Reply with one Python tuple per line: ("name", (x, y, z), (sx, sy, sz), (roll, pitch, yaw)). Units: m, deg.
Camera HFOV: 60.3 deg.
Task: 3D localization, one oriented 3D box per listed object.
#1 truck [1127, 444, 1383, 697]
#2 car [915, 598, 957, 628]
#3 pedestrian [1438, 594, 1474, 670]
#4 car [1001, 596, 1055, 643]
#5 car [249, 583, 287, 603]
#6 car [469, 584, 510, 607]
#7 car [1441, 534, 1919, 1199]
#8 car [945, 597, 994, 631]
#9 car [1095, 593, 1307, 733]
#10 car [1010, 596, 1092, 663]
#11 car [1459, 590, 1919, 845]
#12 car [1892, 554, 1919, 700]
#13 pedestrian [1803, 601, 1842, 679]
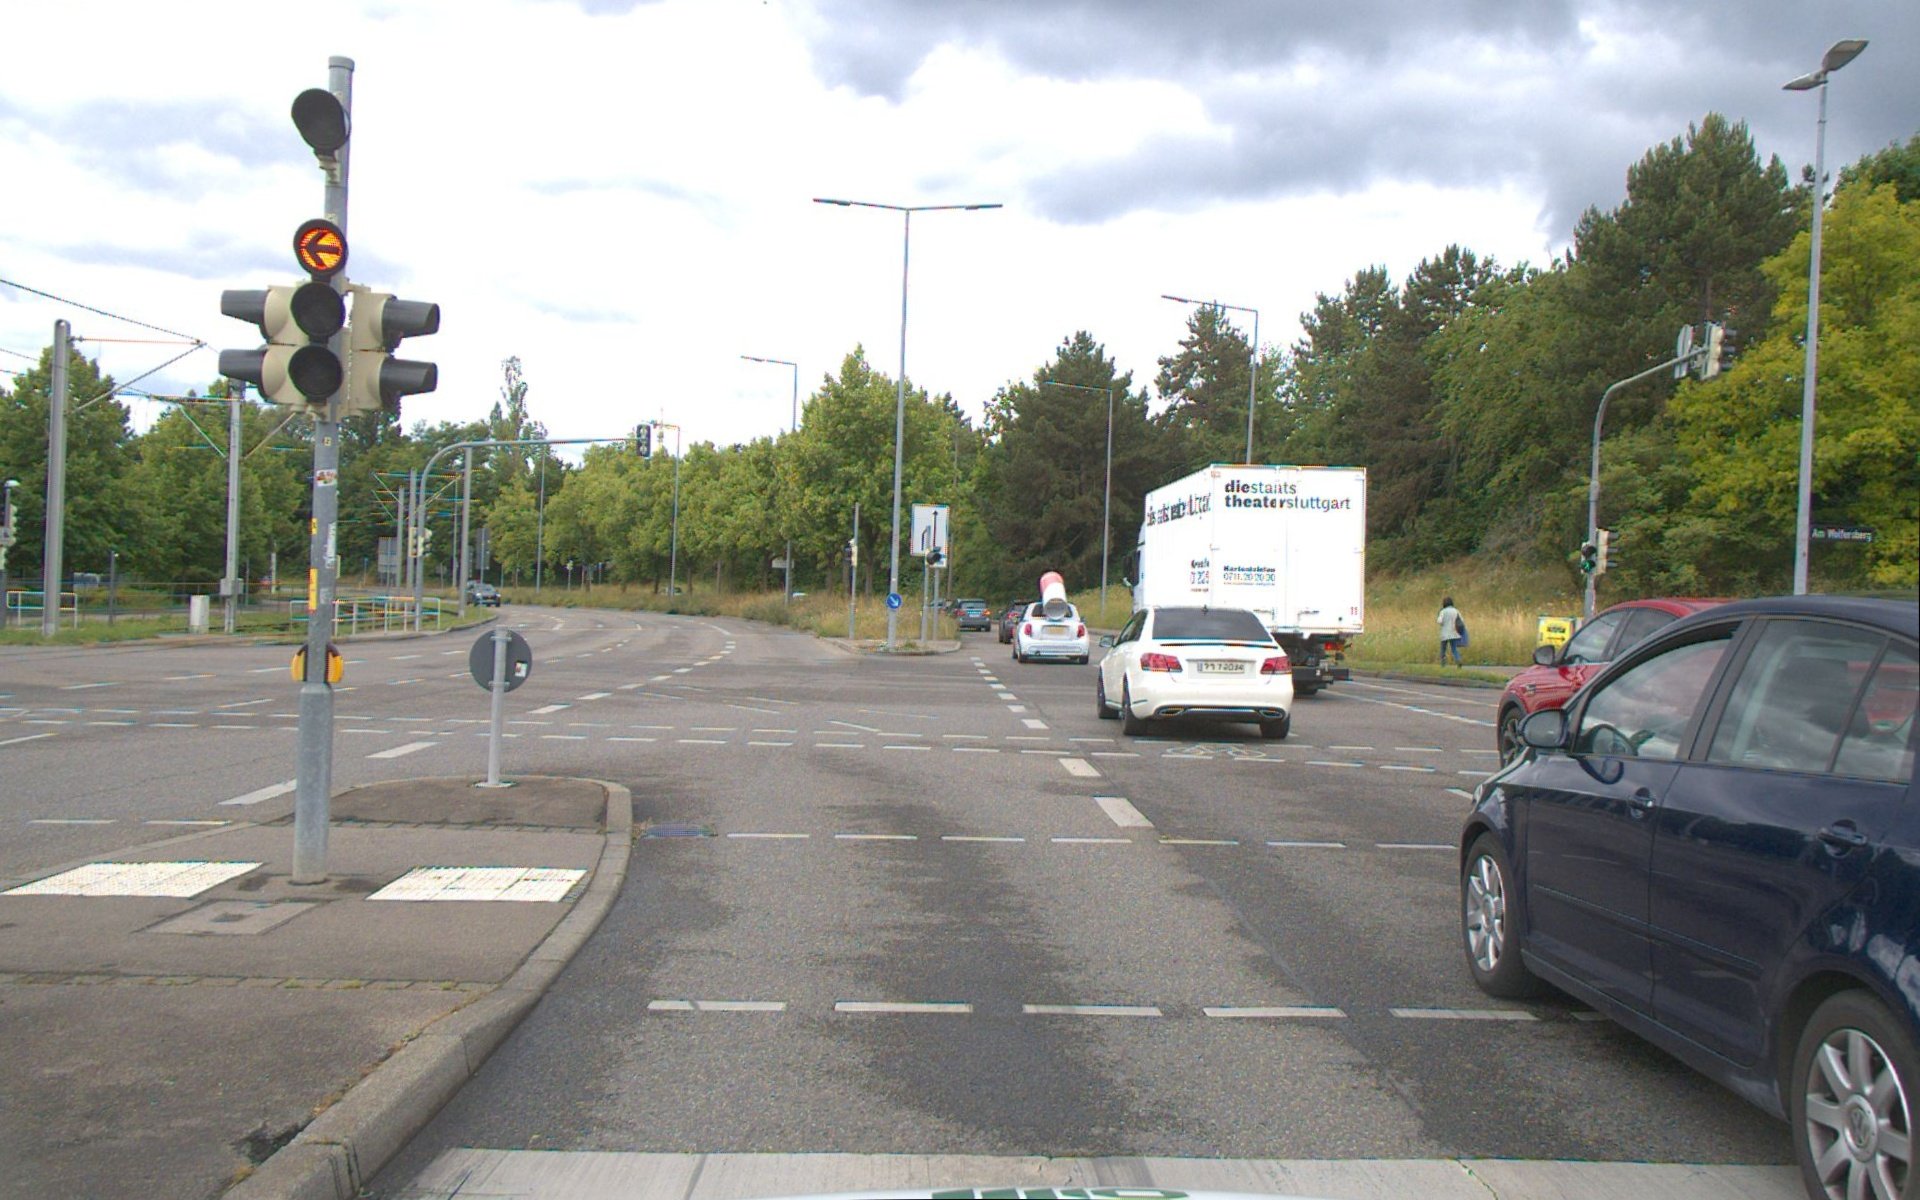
("truck", (5.193, -0.522, 31.332), (2.746, 3.971, 10.179), (1, 1, -1))
("car", (-1.317, 0.672, 88.834), (1.714, 1.534, 3.991), (1, 0, -9))
("pedestrian", (11.250, 0.723, 37.524), (0.630, 1.691, 0.714), (1, -1, 6))
("car", (2.341, 0.643, 57.421), (1.591, 1.519, 3.836), (1, 0, -2))
("car", (-66.148, -0.676, 158.121), (3.928, 1.823, 1.866), (1, -1, 41))
("car", (-33.875, -0.346, 119.028), (1.779, 1.615, 3.953), (1, 0, -34))
("car", (2.909, 0.687, 5.036), (1.631, 1.626, 3.995), (1, 0, -1))
("car", (0.442, 0.652, 78.115), (1.714, 1.534, 4.040), (1, 0, -8))
("car", (2.709, 0.671, 19.493), (1.763, 1.436, 4.316), (1, 0, -1))
("car", (2.185, 0.673, 40.331), (1.784, 1.532, 3.494), (1, 0, 0))
("car", (5.387, 0.725, 12.529), (1.809, 1.556, 4.376), (1, 0, -1))
("car", (20.362, 0.539, 30.065), (5.685, 2.676, 2.000), (1, -1, 1))
("pedestrian", (18.690, 0.860, 35.848), (0.631, 1.640, 0.714), (1, -1, 20))
